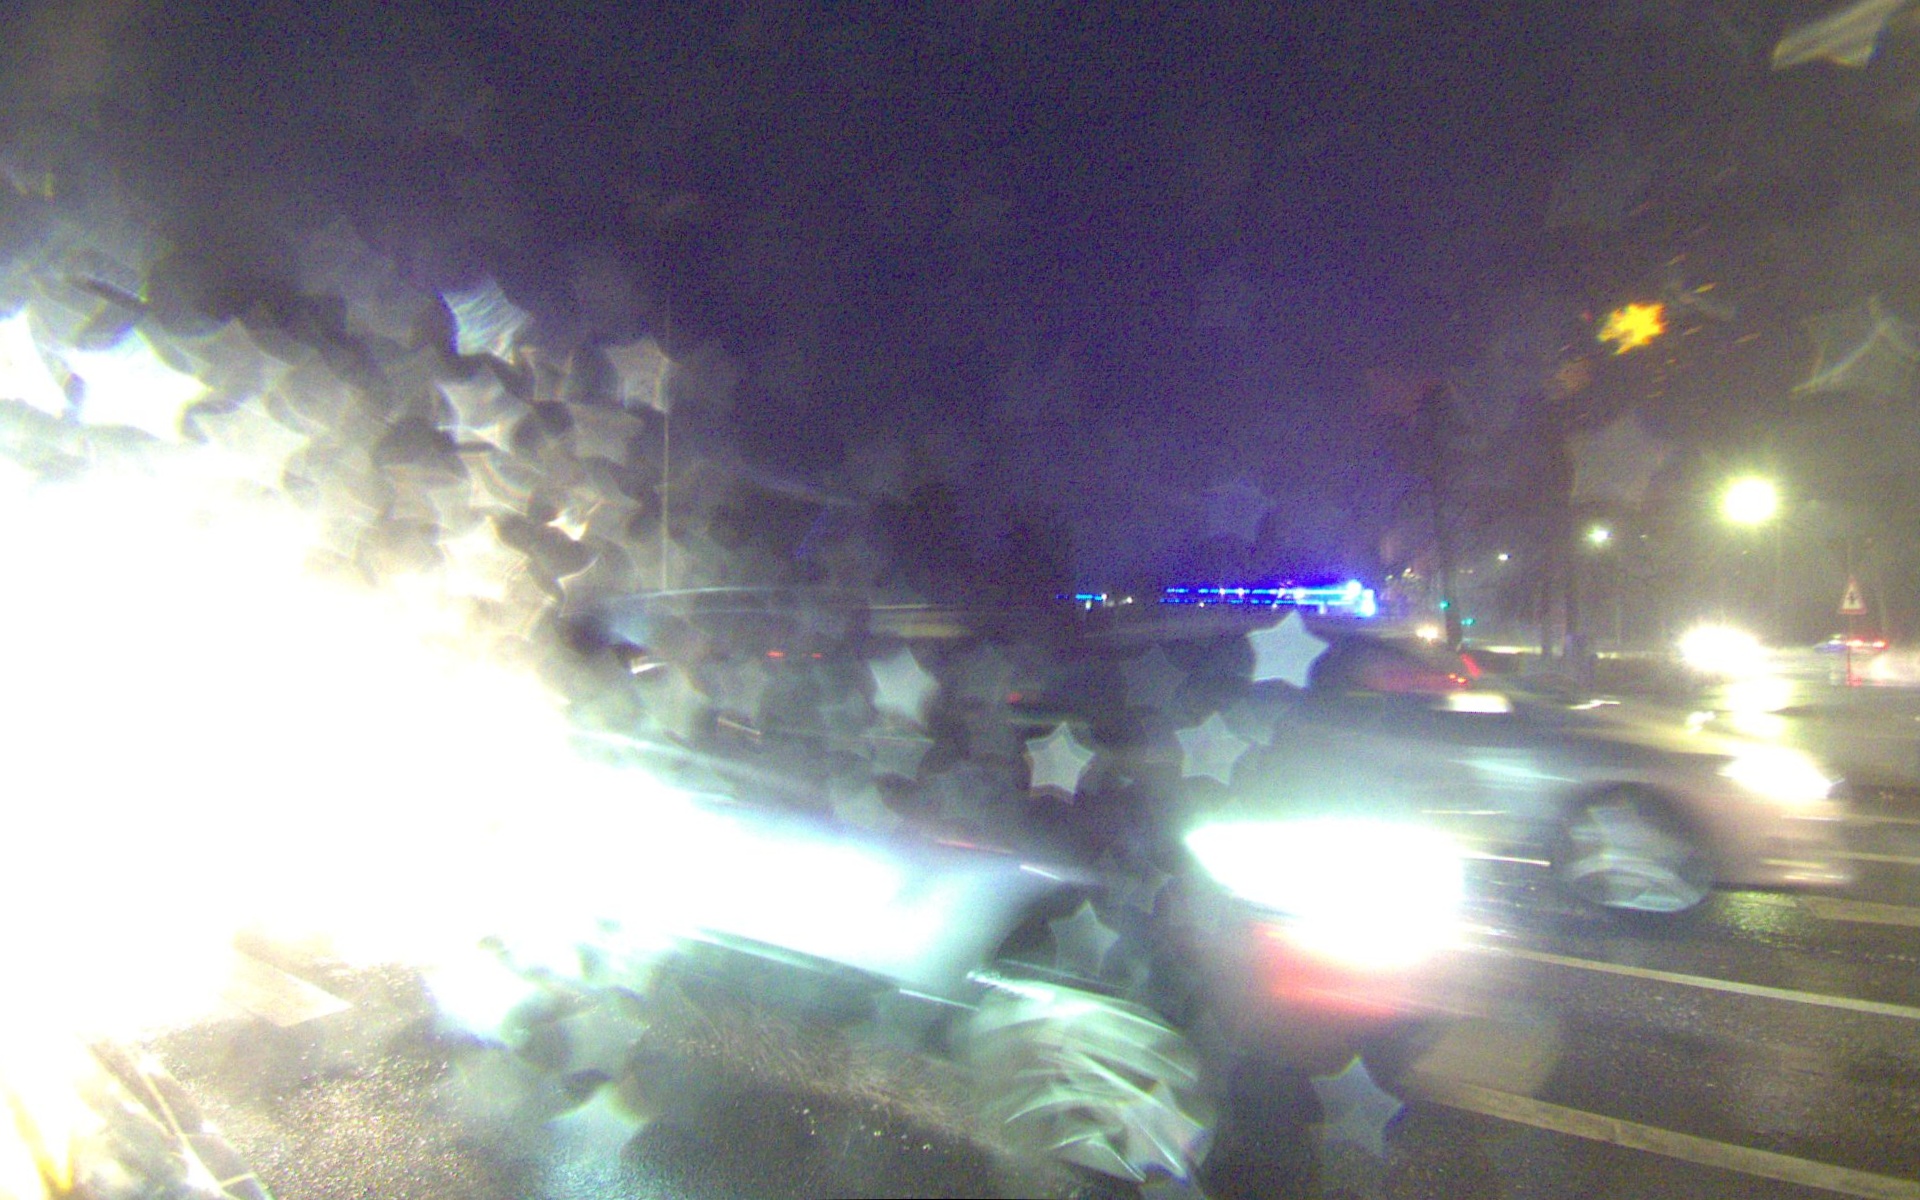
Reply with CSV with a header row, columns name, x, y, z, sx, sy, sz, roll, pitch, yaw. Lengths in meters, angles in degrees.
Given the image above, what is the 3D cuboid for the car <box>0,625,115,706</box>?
name,x,y,z,sx,sy,sz,roll,pitch,yaw
car,-20.950,1.415,23.079,4.233,1.607,1.766,0,-1,39

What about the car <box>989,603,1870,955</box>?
name,x,y,z,sx,sy,sz,roll,pitch,yaw
car,2.440,0.765,6.099,4.278,1.447,1.722,-1,0,34

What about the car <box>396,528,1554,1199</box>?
name,x,y,z,sx,sy,sz,roll,pitch,yaw
car,-0.147,0.681,3.795,4.012,1.603,1.835,0,0,34

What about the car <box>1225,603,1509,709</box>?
name,x,y,z,sx,sy,sz,roll,pitch,yaw
car,7.672,1.036,19.202,4.764,1.806,2.016,-2,-2,29

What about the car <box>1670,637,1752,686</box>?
name,x,y,z,sx,sy,sz,roll,pitch,yaw
car,35.740,2.868,48.258,1.647,2.095,3.983,-1,0,13

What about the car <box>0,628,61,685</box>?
name,x,y,z,sx,sy,sz,roll,pitch,yaw
car,-27.287,1.576,29.054,4.172,1.456,1.658,-1,-1,41

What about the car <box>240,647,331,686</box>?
name,x,y,z,sx,sy,sz,roll,pitch,yaw
car,-26.143,2.561,39.212,3.871,1.306,1.618,0,0,34

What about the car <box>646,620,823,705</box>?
name,x,y,z,sx,sy,sz,roll,pitch,yaw
car,-5.507,1.438,24.552,4.200,1.848,1.975,-1,-1,37

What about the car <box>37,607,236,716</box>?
name,x,y,z,sx,sy,sz,roll,pitch,yaw
car,-15.624,1.046,19.120,4.716,1.807,1.974,-1,-1,39

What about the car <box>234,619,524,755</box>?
name,x,y,z,sx,sy,sz,roll,pitch,yaw
car,-7.429,1.010,12.790,4.116,1.418,1.812,-2,-2,39
